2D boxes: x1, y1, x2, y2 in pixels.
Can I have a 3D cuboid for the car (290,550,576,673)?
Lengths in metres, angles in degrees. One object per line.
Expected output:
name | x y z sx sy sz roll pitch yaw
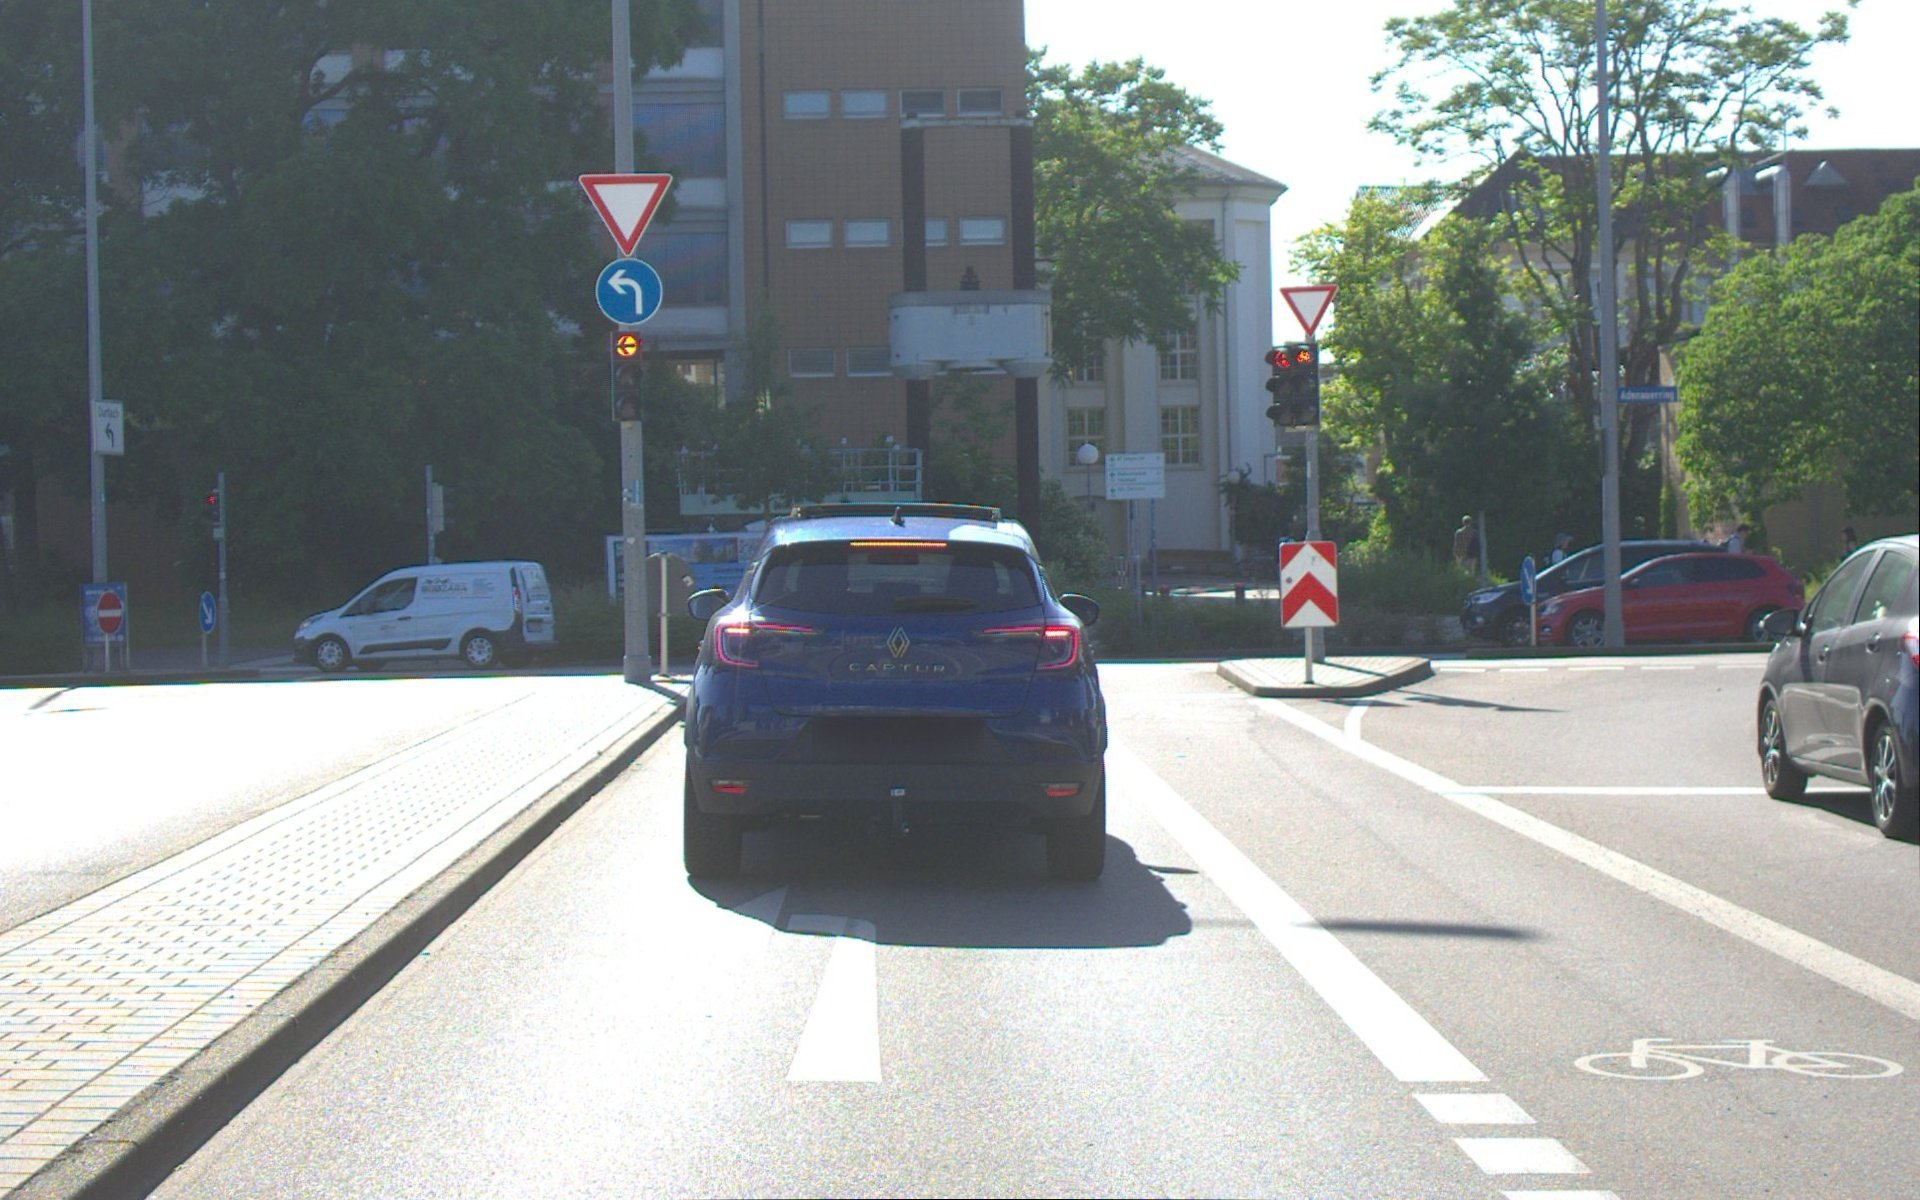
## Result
car | -8.853 0.207 57.920 4.349 2.007 1.999 -1 -1 11

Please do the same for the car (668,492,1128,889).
car | -0.399 0.350 15.699 1.823 1.594 3.659 0 0 -5

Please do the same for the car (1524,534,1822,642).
car | 10.131 -0.172 49.102 3.988 1.459 2.000 -1 0 6

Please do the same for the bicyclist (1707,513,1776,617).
bicyclist | 13.985 -0.619 61.519 0.849 1.840 0.858 0 -1 -45

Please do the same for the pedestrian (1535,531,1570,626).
pedestrian | 10.510 -0.374 60.942 0.560 1.664 0.476 -1 -1 14

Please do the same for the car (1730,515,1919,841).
car | 5.314 0.364 18.038 1.756 1.536 3.658 0 0 1

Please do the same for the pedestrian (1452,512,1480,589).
pedestrian | 11.080 -1.081 75.224 0.577 1.664 0.562 -1 -1 9

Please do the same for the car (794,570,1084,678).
car | -0.301 0.366 52.236 4.117 1.581 1.879 -1 -1 11

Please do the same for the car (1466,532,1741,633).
car | 9.786 -0.285 52.538 3.988 1.459 2.000 -1 1 6
